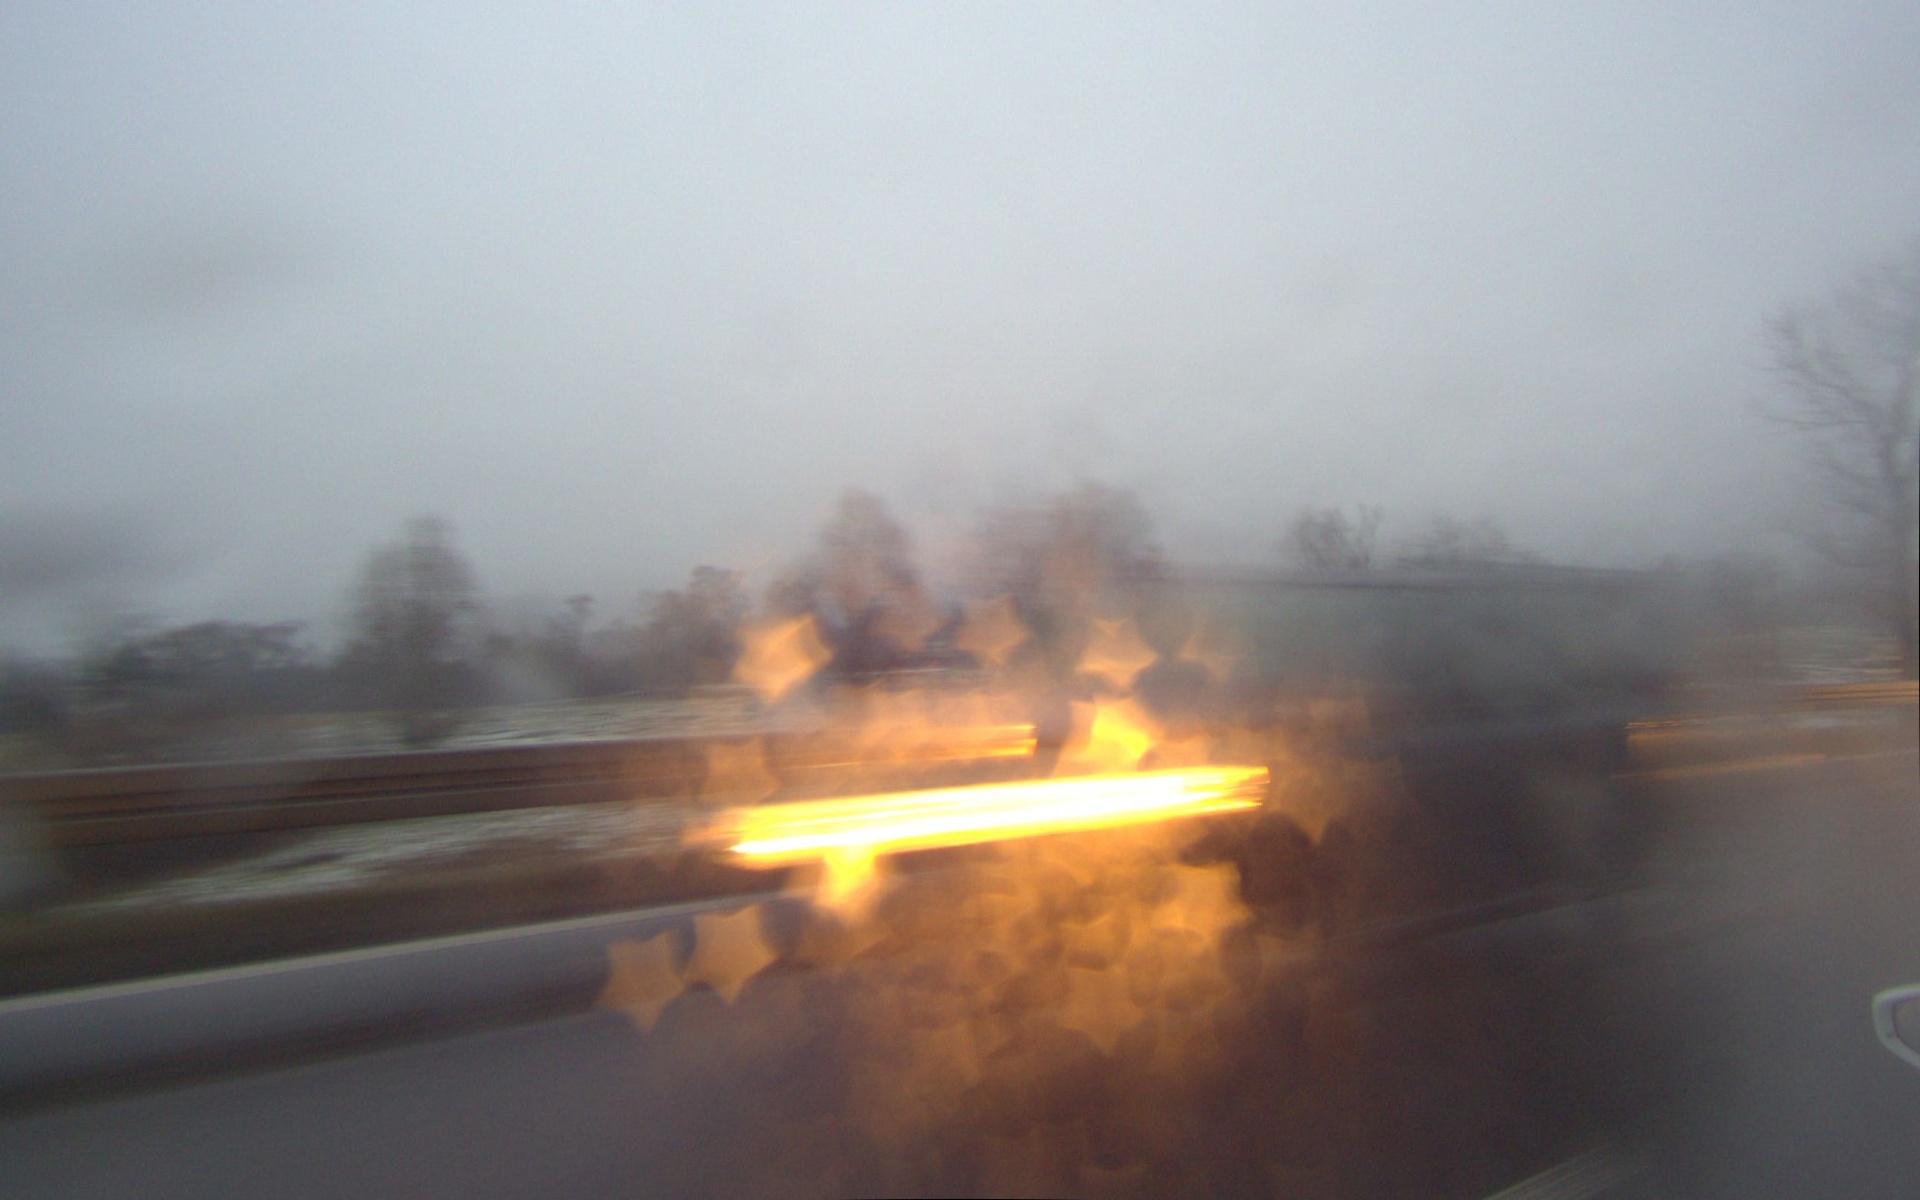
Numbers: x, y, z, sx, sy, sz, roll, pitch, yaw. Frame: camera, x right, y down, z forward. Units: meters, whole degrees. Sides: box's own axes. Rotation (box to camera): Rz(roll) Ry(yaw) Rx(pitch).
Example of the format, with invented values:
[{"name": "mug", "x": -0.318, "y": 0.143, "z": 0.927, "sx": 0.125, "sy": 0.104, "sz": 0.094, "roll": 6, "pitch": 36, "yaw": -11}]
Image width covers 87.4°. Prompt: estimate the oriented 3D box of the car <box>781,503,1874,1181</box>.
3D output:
[{"name": "car", "x": 1.822, "y": 0.631, "z": 4.523, "sx": 4.814, "sy": 1.656, "sz": 2.002, "roll": 1, "pitch": -1, "yaw": -29}]
